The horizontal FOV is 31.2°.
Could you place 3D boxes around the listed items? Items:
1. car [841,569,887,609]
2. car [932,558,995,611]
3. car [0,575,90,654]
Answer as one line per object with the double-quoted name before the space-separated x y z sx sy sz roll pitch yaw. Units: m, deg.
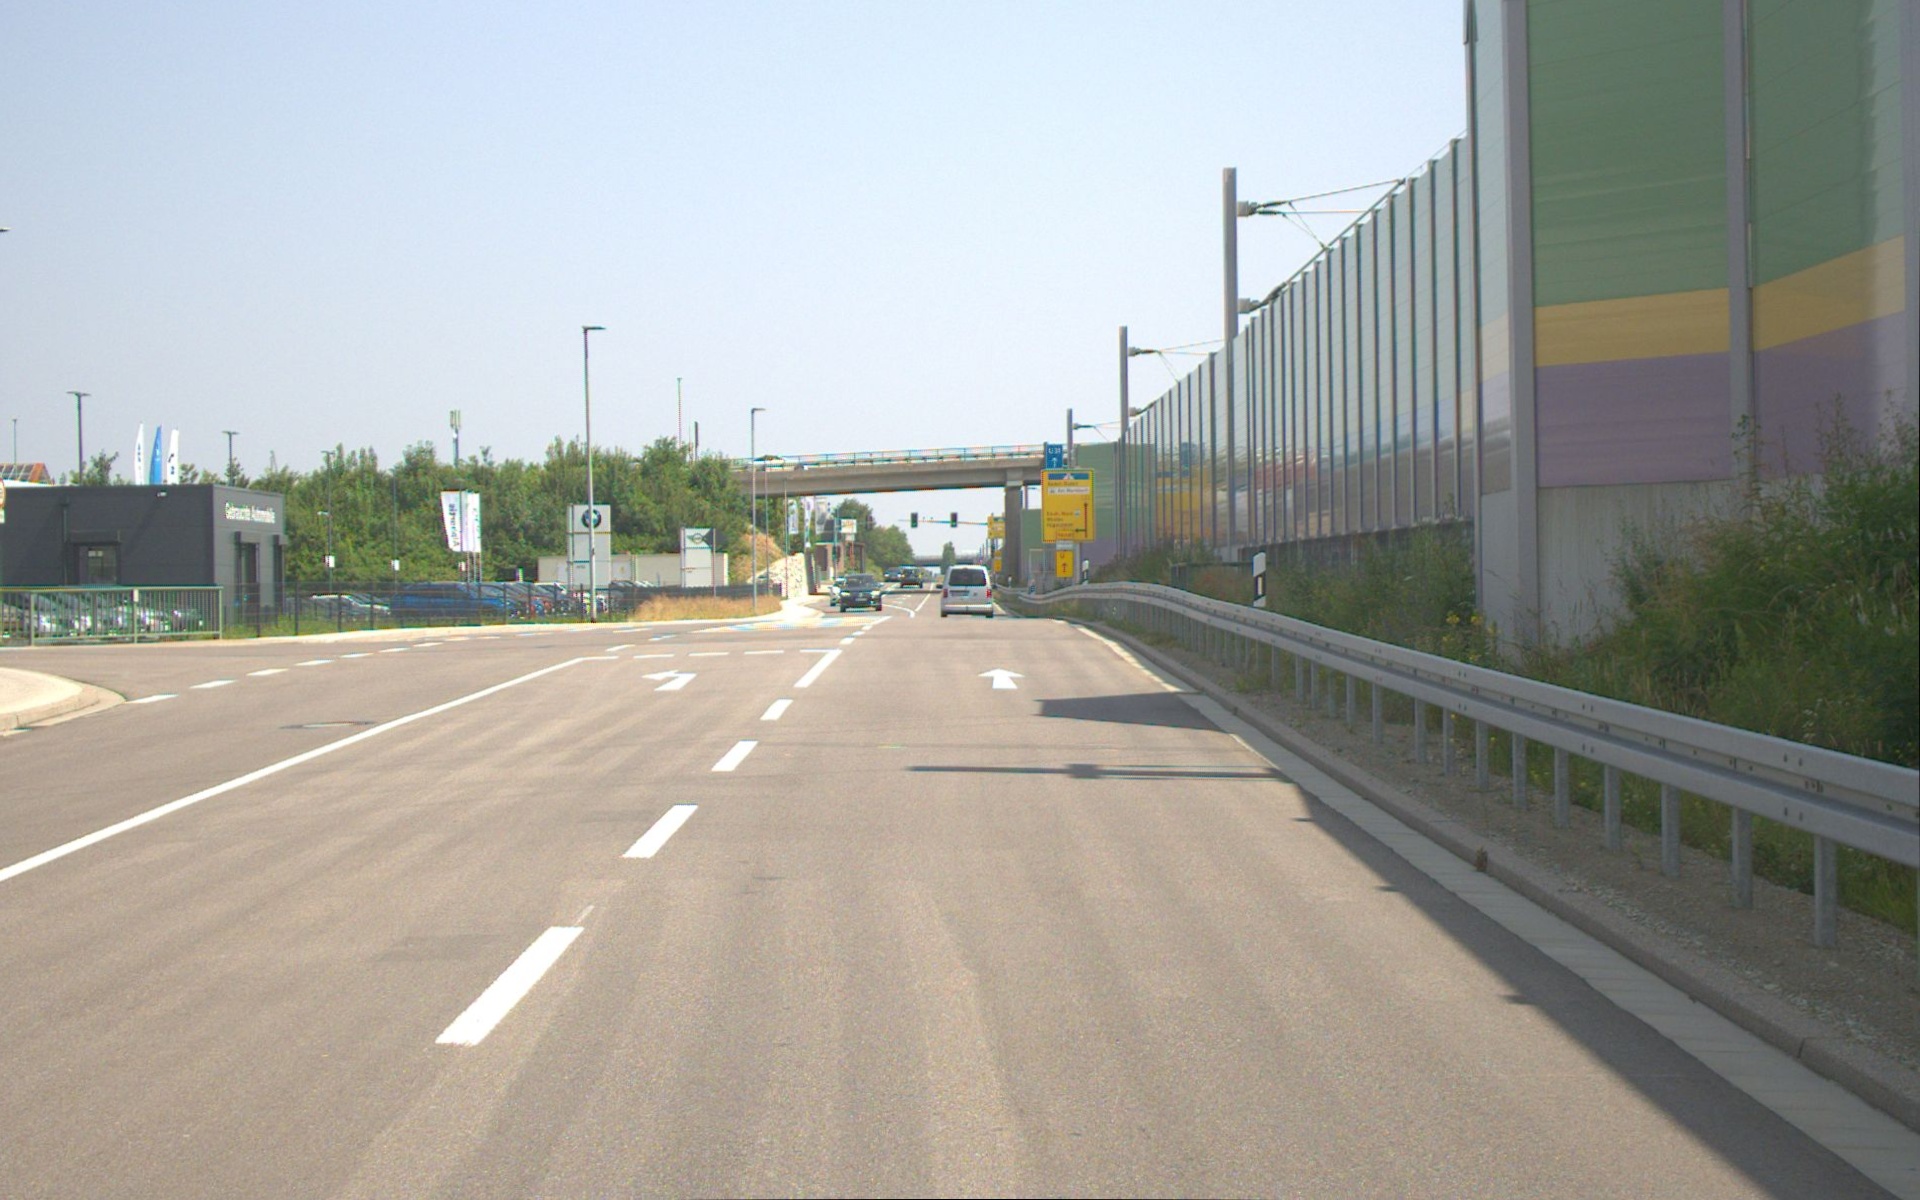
"car" -4.234 -0.494 152.173 1.877 1.667 4.291 -1 1 0
"car" 0.143 -0.533 115.264 1.993 1.751 4.000 -1 1 2
"car" -21.164 0.334 74.814 3.987 1.626 1.887 -1 1 -1
